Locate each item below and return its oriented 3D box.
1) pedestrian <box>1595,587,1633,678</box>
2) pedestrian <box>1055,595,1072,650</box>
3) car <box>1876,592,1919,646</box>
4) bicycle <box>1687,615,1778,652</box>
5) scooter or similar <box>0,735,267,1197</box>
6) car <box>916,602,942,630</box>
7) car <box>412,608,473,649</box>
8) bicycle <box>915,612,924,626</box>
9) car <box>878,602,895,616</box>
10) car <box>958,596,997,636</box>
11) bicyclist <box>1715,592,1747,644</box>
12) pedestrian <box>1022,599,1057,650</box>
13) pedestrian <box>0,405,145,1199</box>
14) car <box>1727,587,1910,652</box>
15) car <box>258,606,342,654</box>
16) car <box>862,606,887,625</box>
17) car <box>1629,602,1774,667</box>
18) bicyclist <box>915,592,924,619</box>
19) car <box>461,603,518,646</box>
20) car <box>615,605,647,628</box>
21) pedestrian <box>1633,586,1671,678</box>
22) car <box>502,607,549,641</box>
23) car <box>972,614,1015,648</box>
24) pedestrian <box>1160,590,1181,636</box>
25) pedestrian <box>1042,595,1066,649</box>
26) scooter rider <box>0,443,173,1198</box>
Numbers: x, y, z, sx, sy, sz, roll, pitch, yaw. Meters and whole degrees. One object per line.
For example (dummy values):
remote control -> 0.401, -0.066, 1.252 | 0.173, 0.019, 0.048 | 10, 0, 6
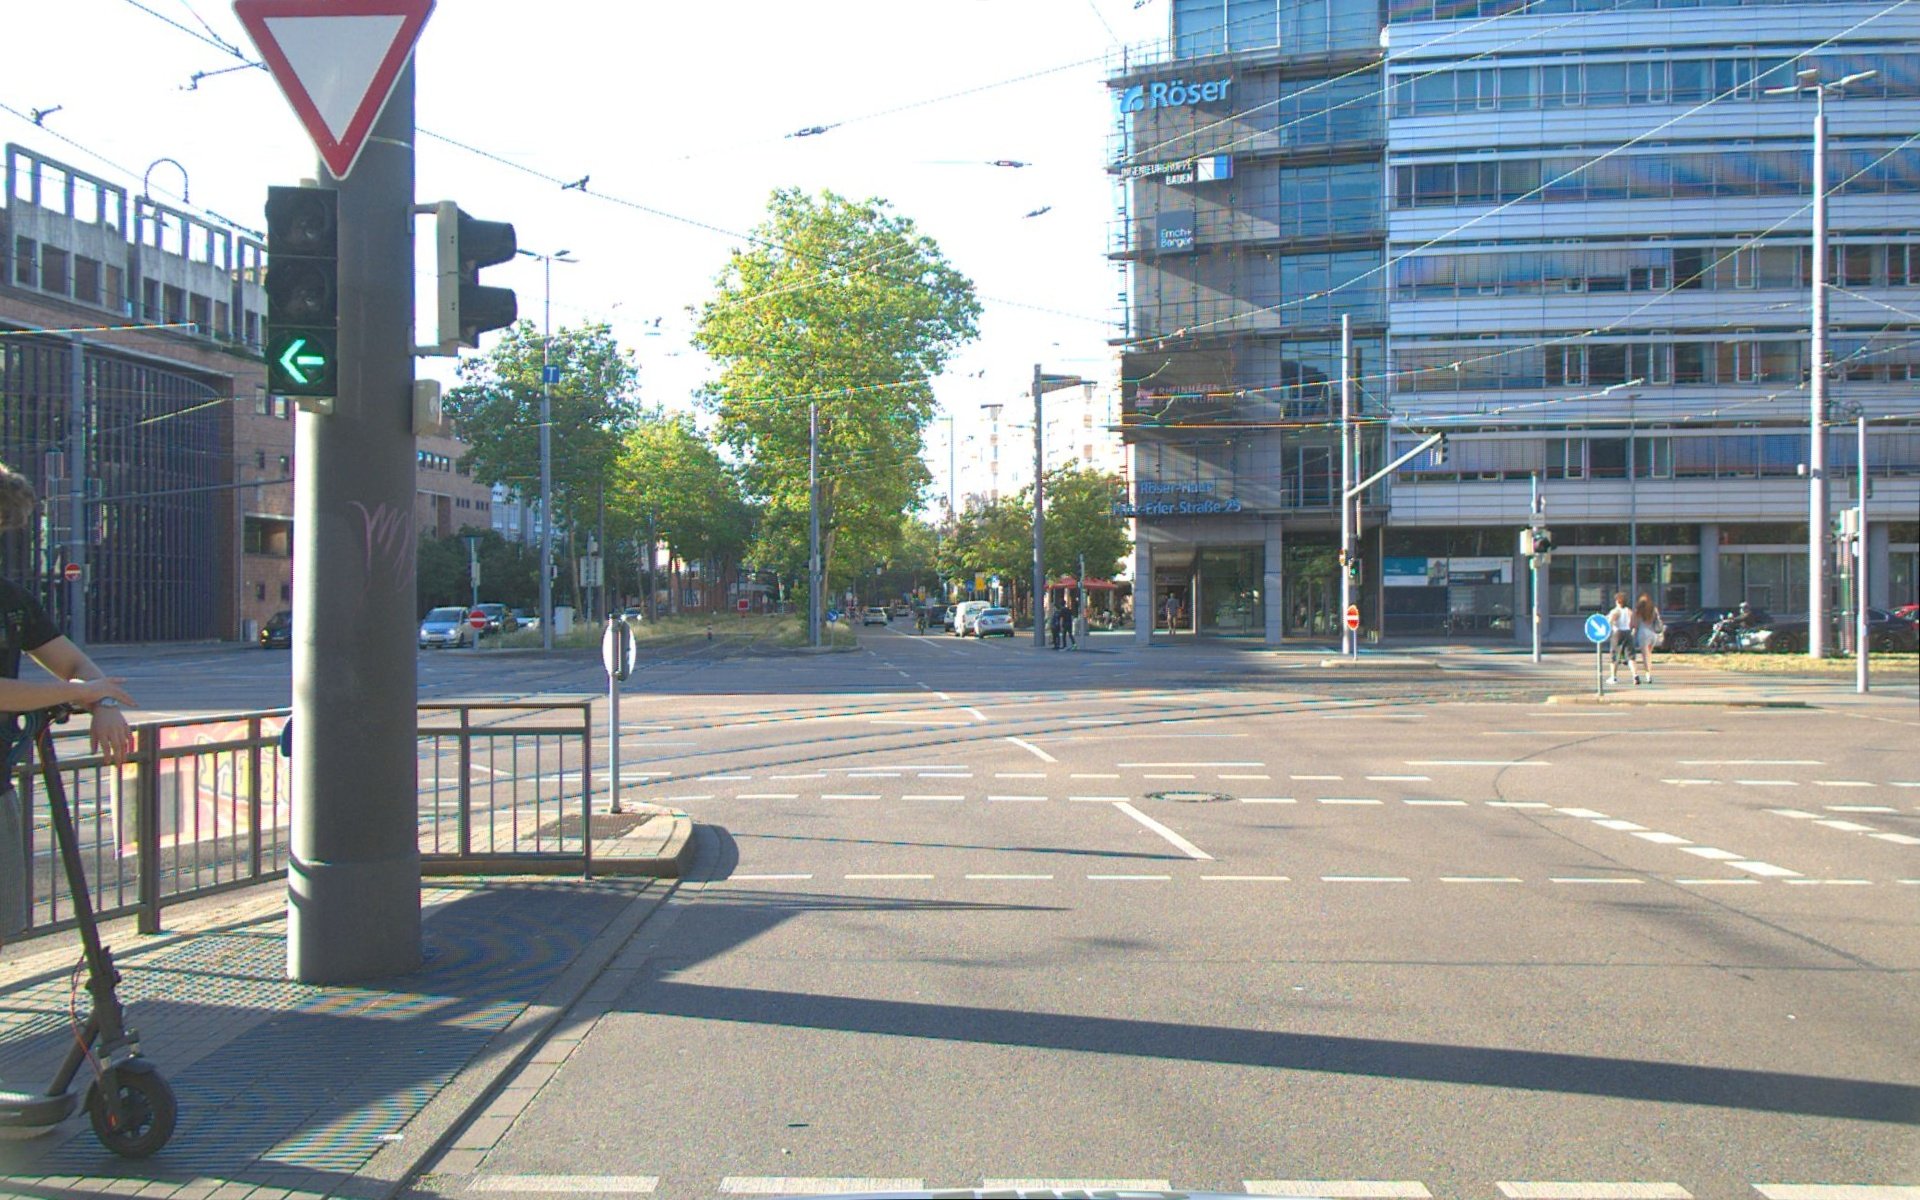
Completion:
pedestrian -> 13.079, 0.639, 33.082 | 0.663, 1.789, 0.742 | -1, -1, 23
pedestrian -> 3.926, 0.839, 62.582 | 0.574, 2.049, 0.620 | 1, -1, 0
car -> 29.495, 0.594, 48.825 | 3.903, 1.579, 1.798 | 1, -1, 4
bicycle -> 22.951, 0.996, 49.157 | 2.359, 1.040, 0.637 | -1, 0, 4
scooter or similar -> -2.612, 0.948, 4.486 | 1.177, 1.100, 0.648 | -1, 0, 3
car -> -2.335, 1.239, 125.853 | 1.953, 2.049, 3.999 | 1, -1, -1
car -> -20.758, 1.121, 66.447 | 1.590, 1.604, 3.994 | -1, 0, -7
bicycle -> -2.290, 1.061, 92.862 | 0.480, 0.802, 1.861 | 1, -1, -1
car -> -7.786, 0.917, 174.864 | 1.729, 1.429, 4.292 | 0, 0, -4
car -> 0.901, 0.869, 88.898 | 1.953, 2.049, 3.999 | 1, -1, -1
bicyclist -> 22.912, 0.543, 49.159 | 0.649, 1.529, 0.613 | -1, 0, 4
pedestrian -> 3.134, 0.953, 65.292 | 1.315, 1.985, 1.011 | 0, -1, -1
pedestrian -> -2.601, 0.552, 3.654 | 1.143, 1.917, 0.854 | -1, -1, 4
car -> 24.072, 0.538, 46.484 | 4.165, 1.753, 1.884 | -1, 0, 2
car -> -29.469, 1.316, 73.989 | 1.837, 2.049, 4.472 | -1, 0, 2
car -> -6.783, 1.233, 131.136 | 1.712, 1.443, 4.001 | 1, 1, 1
car -> 24.523, 1.124, 54.763 | 3.906, 2.049, 2.000 | 1, -1, -1
bicyclist -> -2.290, 0.309, 93.018 | 0.477, 1.464, 0.615 | 1, 0, -1
car -> -20.893, 1.074, 73.591 | 1.787, 1.821, 3.994 | -1, 0, -7
car -> -26.676, 1.344, 134.264 | 1.807, 1.814, 3.999 | -1, 0, -1
pedestrian -> 13.739, 0.626, 32.841 | 0.669, 1.789, 0.741 | -1, -1, 23
car -> -21.470, 1.192, 81.903 | 1.644, 1.635, 3.994 | 1, -1, -6
car -> 1.659, 1.517, 82.202 | 1.988, 1.624, 3.999 | 1, -1, -1
pedestrian -> 9.588, 0.612, 75.403 | 0.852, 2.049, 0.793 | 1, -2, -1
pedestrian -> 3.632, 0.844, 63.729 | 0.832, 2.049, 0.707 | 1, -1, -2
scooter rider -> -2.604, 0.560, 4.506 | 0.554, 1.885, 0.680 | -1, -2, 4
